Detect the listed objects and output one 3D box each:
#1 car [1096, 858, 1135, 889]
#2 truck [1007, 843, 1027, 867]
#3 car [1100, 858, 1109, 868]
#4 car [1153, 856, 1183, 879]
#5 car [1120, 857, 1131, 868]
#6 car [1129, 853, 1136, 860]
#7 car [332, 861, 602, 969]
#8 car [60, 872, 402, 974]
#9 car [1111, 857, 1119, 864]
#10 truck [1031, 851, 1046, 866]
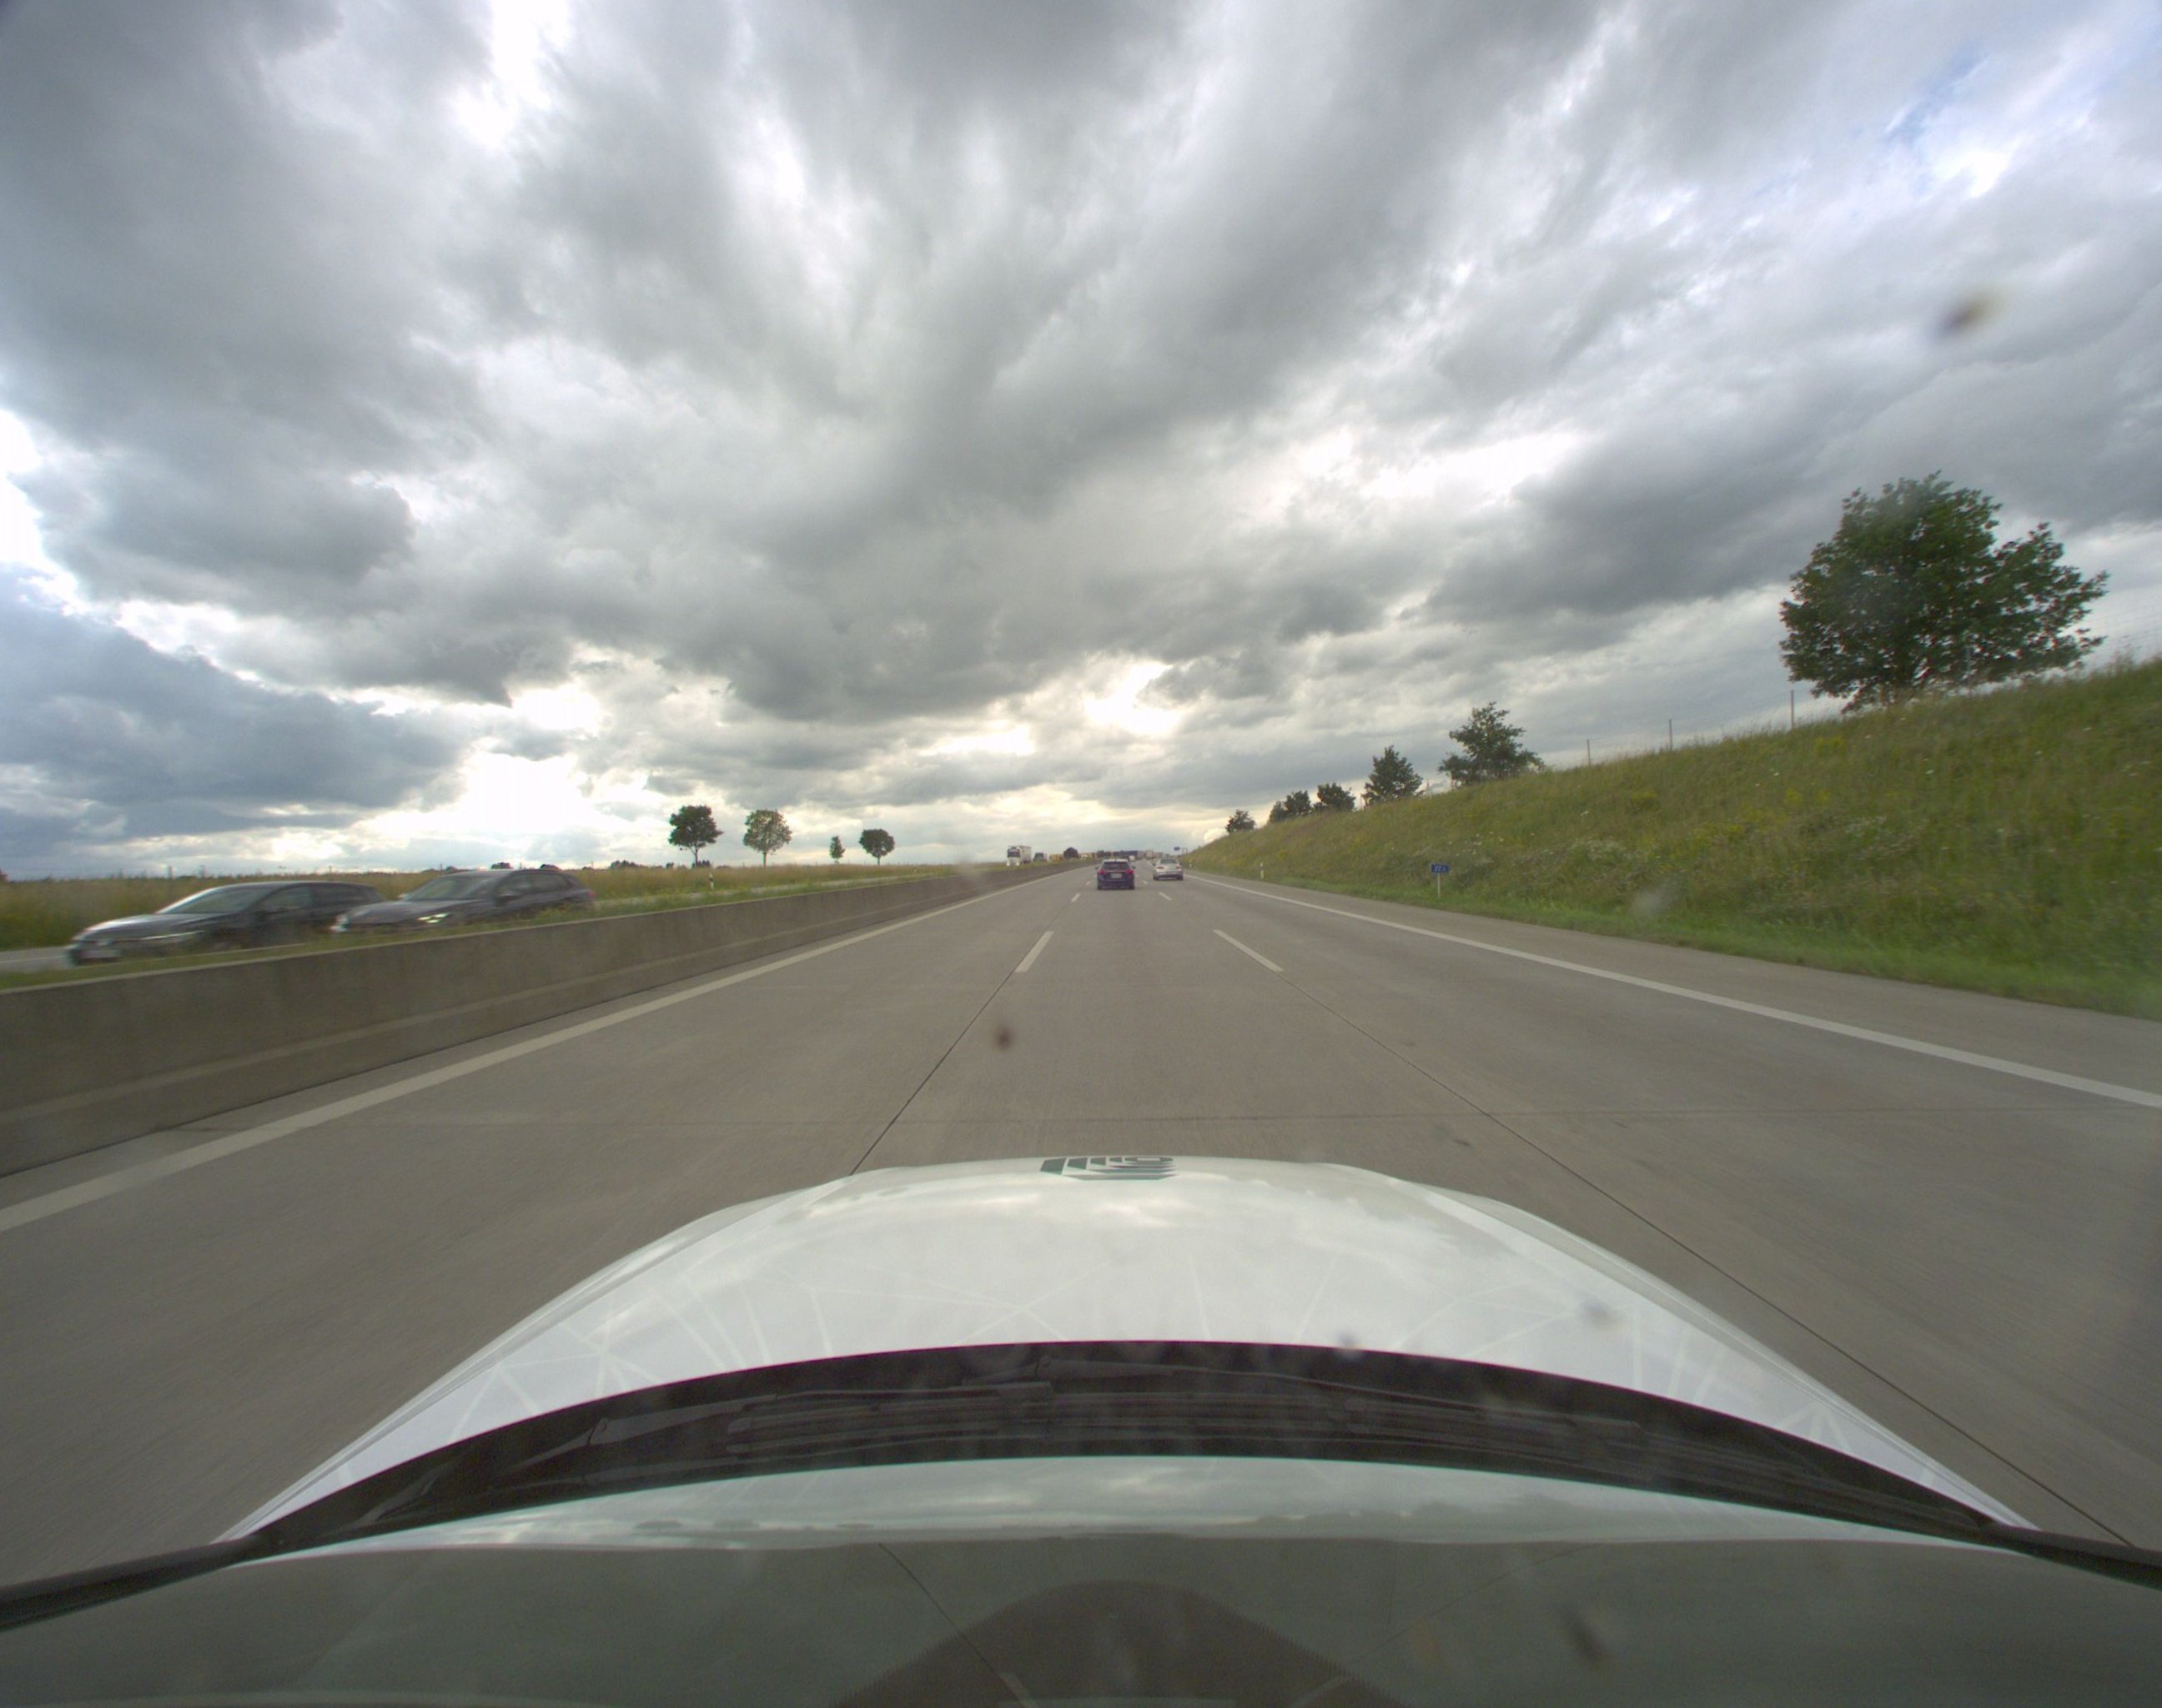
[{"bbox_3d":[1.711,0.917,39.478,1.767,1.413,4.003,-1,-1,3],"label":"car"},{"bbox_3d":[-11.706,0.270,149.250,2.829,4.256,6.095,-1,-1,2],"label":"truck"},{"bbox_3d":[5.213,2.023,179.593,2.039,2.014,4.000,-1,-1,1],"label":"car"},{"bbox_3d":[5.671,0.887,53.467,1.780,1.403,4.226,-1,-1,5],"label":"car"},{"bbox_3d":[8.512,1.578,156.594,1.987,2.014,3.999,-1,-1,0],"label":"car"},{"bbox_3d":[16.133,0.723,253.457,1.984,2.014,4.005,-1,-1,5],"label":"car"},{"bbox_3d":[-10.668,0.960,14.582,1.683,1.610,4.002,-1,0,2],"label":"car"},{"bbox_3d":[-14.365,1.076,14.161,1.655,1.399,4.002,-1,0,2],"label":"car"},{"bbox_3d":[9.923,1.926,236.372,1.987,2.014,3.999,-1,-1,0],"label":"car"},{"bbox_3d":[-8.085,0.789,155.475,2.242,2.725,7.130,-1,0,2],"label":"truck"}]
